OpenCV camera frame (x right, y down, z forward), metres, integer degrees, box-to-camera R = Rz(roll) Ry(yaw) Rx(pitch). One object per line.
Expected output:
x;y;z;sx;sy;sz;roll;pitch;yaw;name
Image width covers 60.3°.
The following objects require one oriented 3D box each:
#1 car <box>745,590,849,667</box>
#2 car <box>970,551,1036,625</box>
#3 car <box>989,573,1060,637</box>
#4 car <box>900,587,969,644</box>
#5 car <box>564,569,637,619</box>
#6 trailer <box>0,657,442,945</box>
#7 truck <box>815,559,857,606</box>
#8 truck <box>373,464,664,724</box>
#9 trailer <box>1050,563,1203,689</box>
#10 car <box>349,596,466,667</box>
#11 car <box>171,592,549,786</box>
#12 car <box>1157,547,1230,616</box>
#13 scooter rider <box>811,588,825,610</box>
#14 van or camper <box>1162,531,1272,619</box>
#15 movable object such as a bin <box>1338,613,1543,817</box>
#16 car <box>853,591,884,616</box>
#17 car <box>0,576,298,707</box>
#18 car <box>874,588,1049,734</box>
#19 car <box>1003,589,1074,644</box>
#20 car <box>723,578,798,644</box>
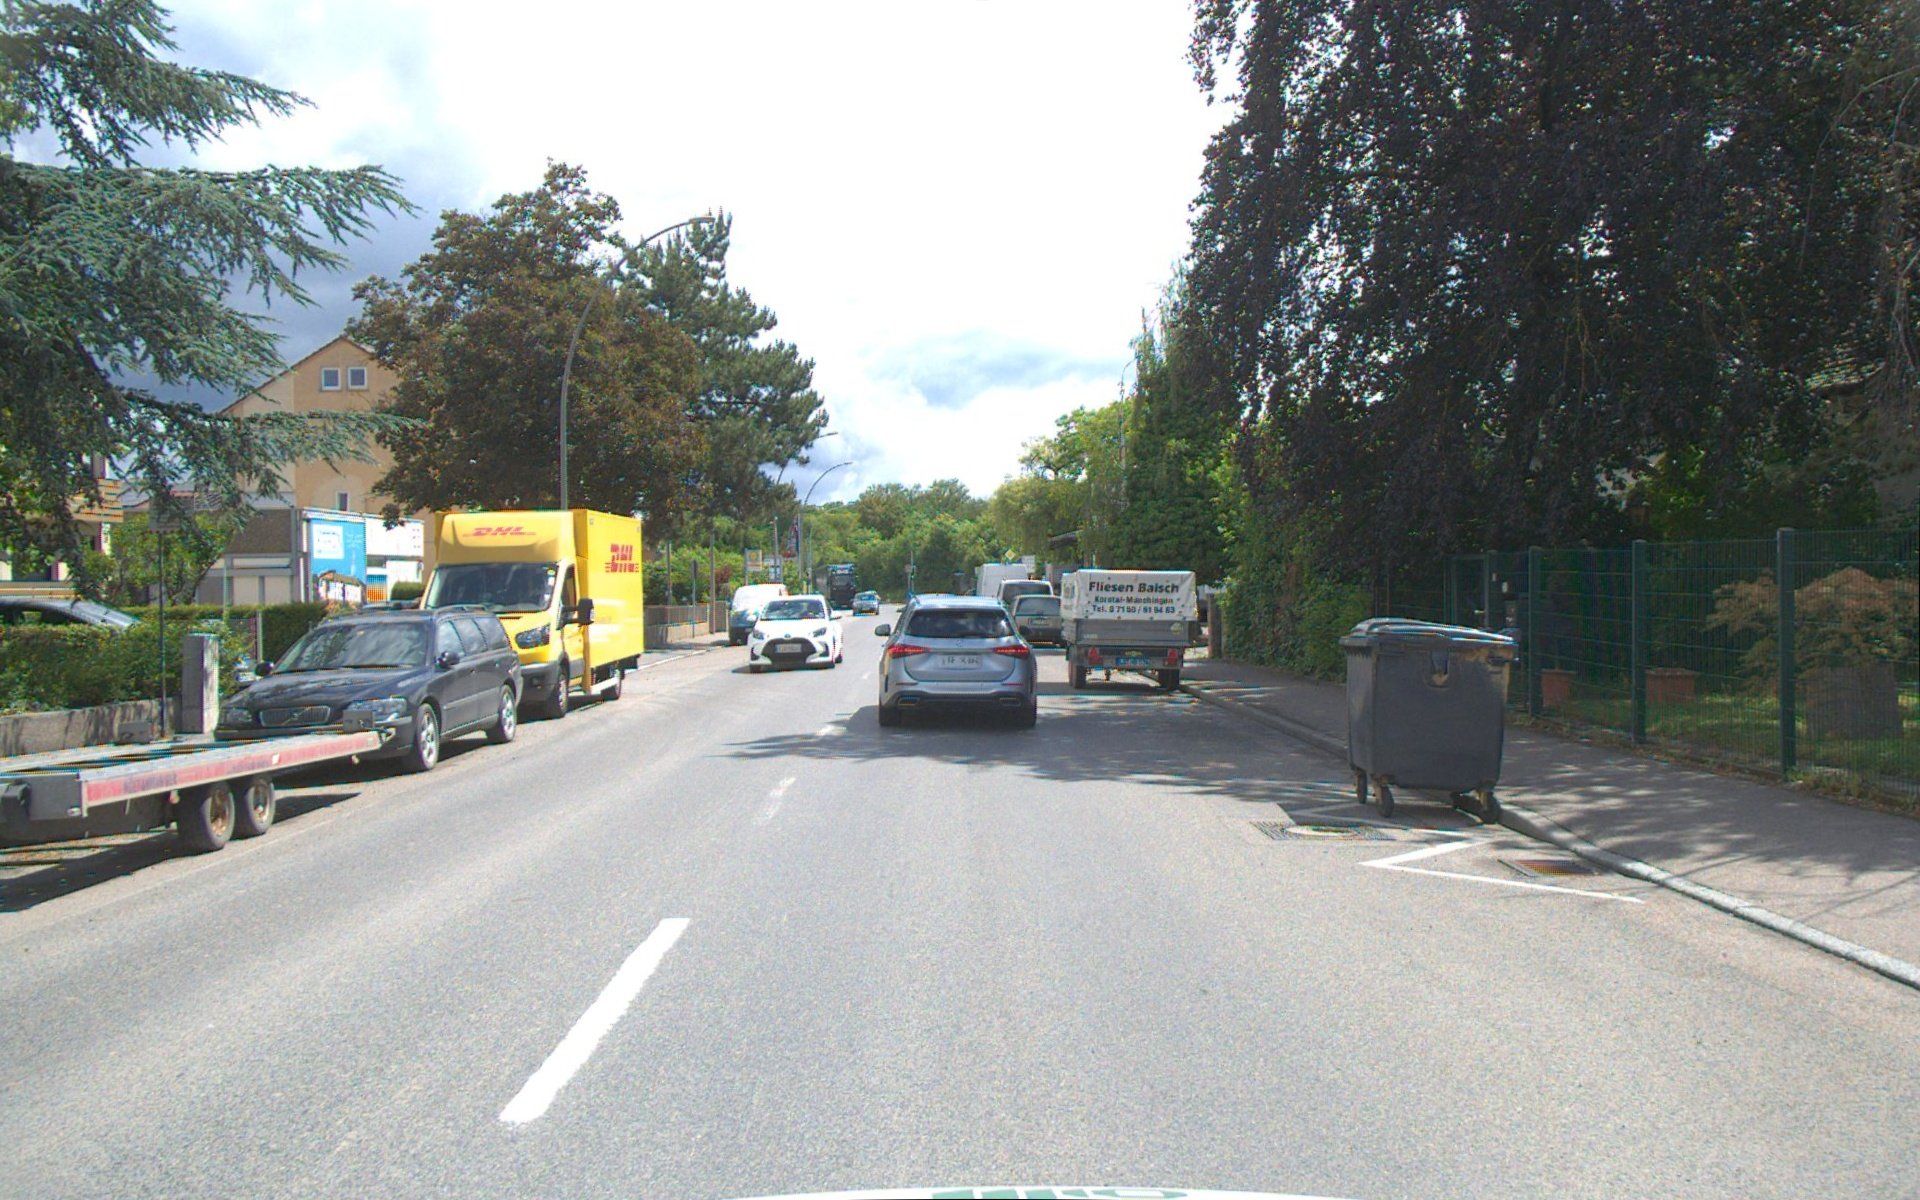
-3.314;0.545;34.321;1.943;1.445;3.997;-2;0;-3;car
1.647;-0.491;66.057;2.170;2.736;6.655;-2;0;-2;car
2.016;0.127;53.232;1.867;1.918;5.387;1;0;-2;car
-0.760;0.421;47.350;1.847;1.534;3.998;-1;0;-3;car
-19.866;-0.339;91.738;2.362;2.538;6.137;-3;0;2;car
-5.477;1.068;10.204;2.271;1.008;7.457;-3;0;-1;trailer
-11.495;-1.559;152.384;2.387;4.203;9.118;1;0;-13;truck
-6.115;-0.096;24.206;2.277;3.055;7.815;-3;0;-2;truck
2.622;0.374;27.118;1.953;1.854;4.764;1;0;-1;trailer
-13.313;0.709;40.071;1.732;1.570;4.084;-1;0;-5;car
-5.715;0.747;16.513;1.953;1.478;4.811;-5;0;-1;car
9.678;-0.827;68.972;1.977;2.728;5.495;-1;2;-2;car
-10.325;-0.083;120.304;0.860;1.617;0.796;-1;0;-1;scooter rider
9.665;-0.923;62.946;2.823;3.114;6.910;-1;0;-2;van or camper
3.375;0.777;11.775;1.090;1.313;1.358;-2;0;3;movable object such as a bin
-6.037;0.218;109.492;1.862;1.544;4.317;-2;0;-2;car
-11.576;0.538;21.748;4.907;1.579;1.971;-1;0;-3;car
-0.016;0.636;19.629;1.846;1.534;3.999;-1;0;-1;car
2.202;0.431;47.598;1.719;1.476;4.993;1;0;-1;car
-6.436;0.300;53.875;1.796;1.885;4.895;-4;1;-1;car
